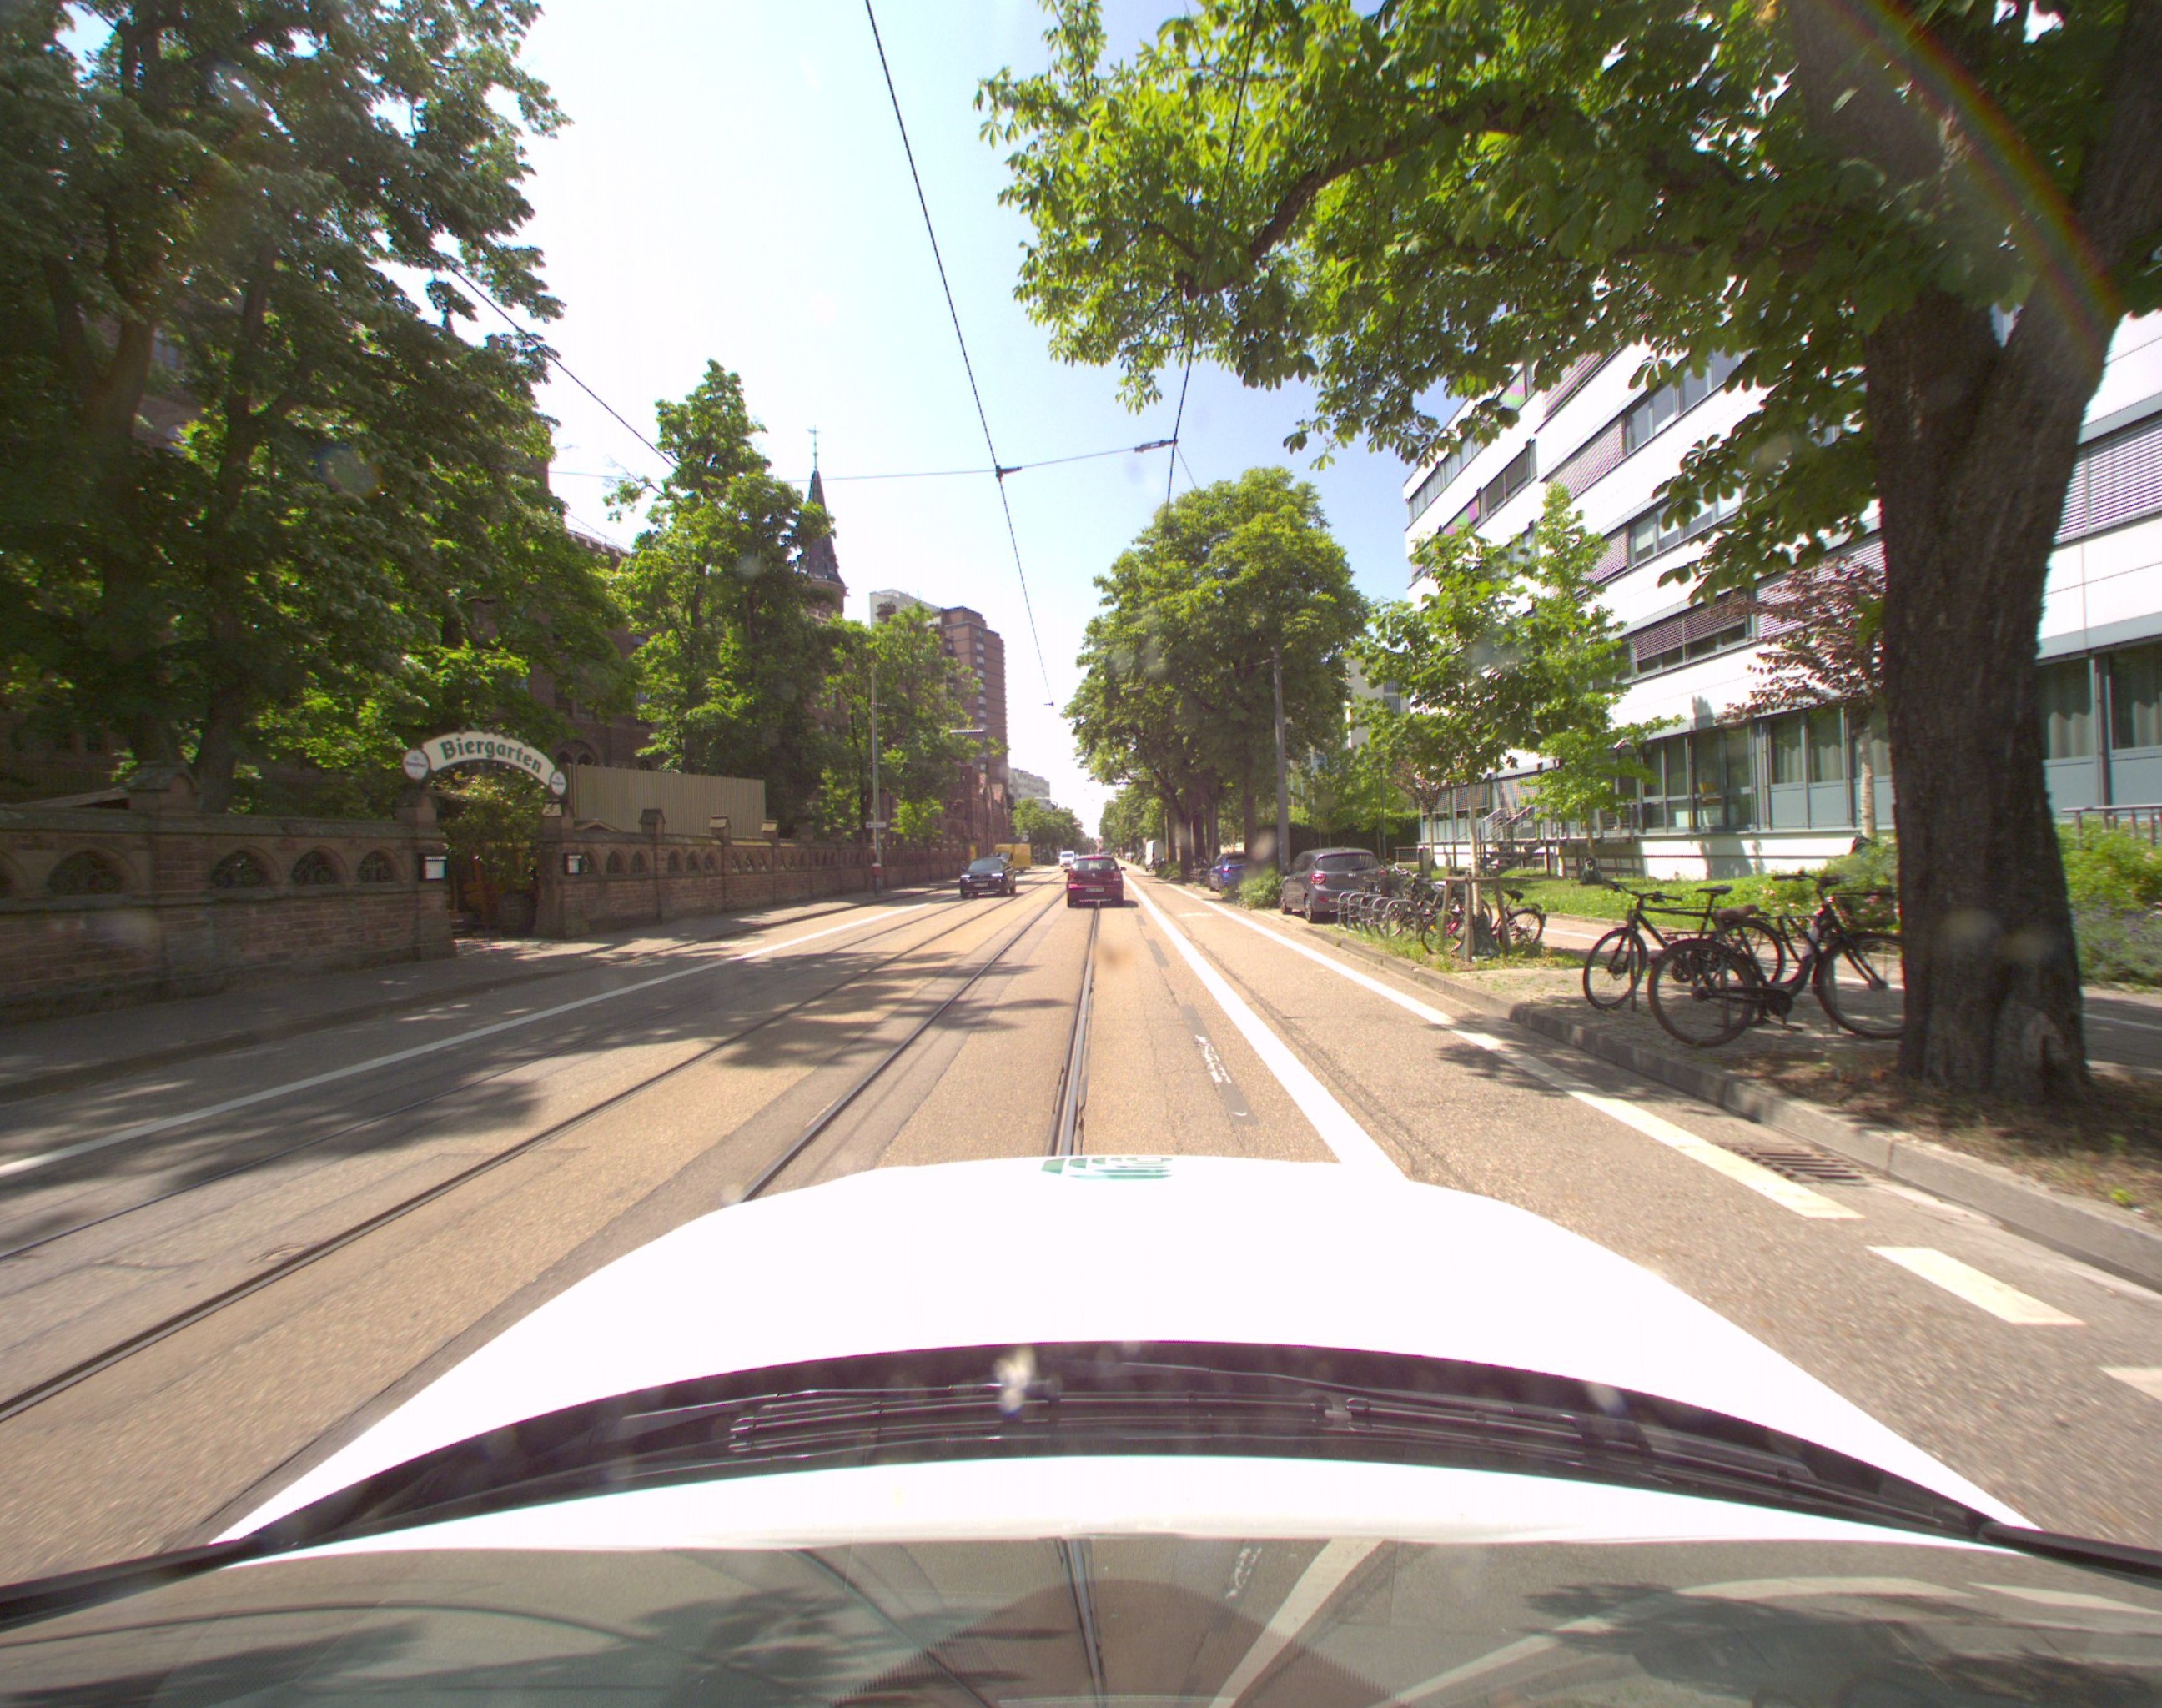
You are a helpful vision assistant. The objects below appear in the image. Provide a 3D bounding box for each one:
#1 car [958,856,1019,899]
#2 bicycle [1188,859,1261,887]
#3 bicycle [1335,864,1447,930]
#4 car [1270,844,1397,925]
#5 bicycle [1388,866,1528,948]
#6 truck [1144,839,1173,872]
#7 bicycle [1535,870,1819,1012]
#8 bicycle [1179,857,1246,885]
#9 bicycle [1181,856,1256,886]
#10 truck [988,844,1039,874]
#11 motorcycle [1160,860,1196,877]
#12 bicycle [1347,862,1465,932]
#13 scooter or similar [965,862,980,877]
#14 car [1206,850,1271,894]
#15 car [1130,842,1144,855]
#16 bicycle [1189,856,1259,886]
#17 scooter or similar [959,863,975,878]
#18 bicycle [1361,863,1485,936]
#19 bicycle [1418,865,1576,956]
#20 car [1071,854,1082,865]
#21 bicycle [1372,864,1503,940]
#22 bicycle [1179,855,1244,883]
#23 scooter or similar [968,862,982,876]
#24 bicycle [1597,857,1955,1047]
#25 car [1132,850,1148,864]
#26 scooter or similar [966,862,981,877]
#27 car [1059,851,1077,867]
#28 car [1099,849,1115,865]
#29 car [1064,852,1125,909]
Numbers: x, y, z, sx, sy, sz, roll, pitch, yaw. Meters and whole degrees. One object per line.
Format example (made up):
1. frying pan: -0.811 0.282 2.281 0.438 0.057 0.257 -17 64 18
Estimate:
1. car: -3.565 0.859 31.927 1.764 1.516 4.002 -2 0 2
2. bicycle: 6.286 0.838 35.751 3.060 1.154 0.781 -1 0 -1
3. bicycle: 5.484 0.749 14.450 1.745 1.085 0.549 -2 0 1
4. car: 5.443 0.605 18.008 1.682 1.503 3.628 -4 0 1
5. bicycle: 5.437 0.752 11.794 1.745 1.085 0.549 -2 0 1
6. truck: 6.387 0.115 67.596 1.986 2.662 4.877 -1 0 1
7. bicycle: 5.018 0.715 6.958 1.817 1.085 0.719 -2 -1 4
8. bicycle: 6.267 0.796 38.769 3.060 1.313 0.781 -1 0 -1
9. bicycle: 6.359 0.776 37.786 3.357 1.313 0.781 -1 0 -1
10. truck: -6.515 0.461 80.126 2.351 2.787 7.352 -2 0 17
11. motorcycle: 7.083 1.044 59.546 2.542 1.188 0.943 -1 0 6
12. bicycle: 5.487 0.718 13.800 1.745 1.085 0.549 -2 0 1
13. scooter or similar: -8.653 1.241 64.714 1.092 1.155 0.524 -1 0 -20
14. car: 5.741 0.636 30.089 1.682 1.468 3.881 -2 0 1
15. car: 7.664 -0.757 112.121 1.668 1.656 4.001 -1 0 1
16. bicycle: 6.465 0.771 36.924 3.060 1.313 0.781 -1 0 -1
17. scooter or similar: -8.655 1.243 61.649 1.092 1.155 0.524 -1 0 -20
18. bicycle: 5.496 0.717 13.152 1.745 1.085 0.549 -2 0 1
19. bicycle: 5.404 0.719 10.628 1.745 1.085 0.549 -2 0 1
20. car: -0.700 0.801 127.843 1.668 1.656 4.001 -1 0 1
21. bicycle: 5.468 0.729 12.542 1.745 1.085 0.549 -2 0 1
22. bicycle: 6.343 0.712 39.650 3.060 1.313 0.781 -1 0 -1
23. scooter or similar: -8.526 1.208 65.484 1.092 1.155 0.524 -1 0 -20
24. bicycle: 4.833 0.656 5.758 1.876 1.182 0.694 -3 -1 1
25. car: 7.173 0.298 98.975 1.668 1.656 4.001 -1 0 1
26. scooter or similar: -8.499 1.229 64.163 1.092 1.155 0.524 -1 0 -20
27. car: -1.602 0.609 101.088 1.986 1.854 4.683 -2 0 1
28. car: 3.339 0.389 104.981 1.987 2.013 3.999 -1 0 -1
29. car: 0.410 0.720 24.299 1.613 1.486 4.001 -2 0 1
